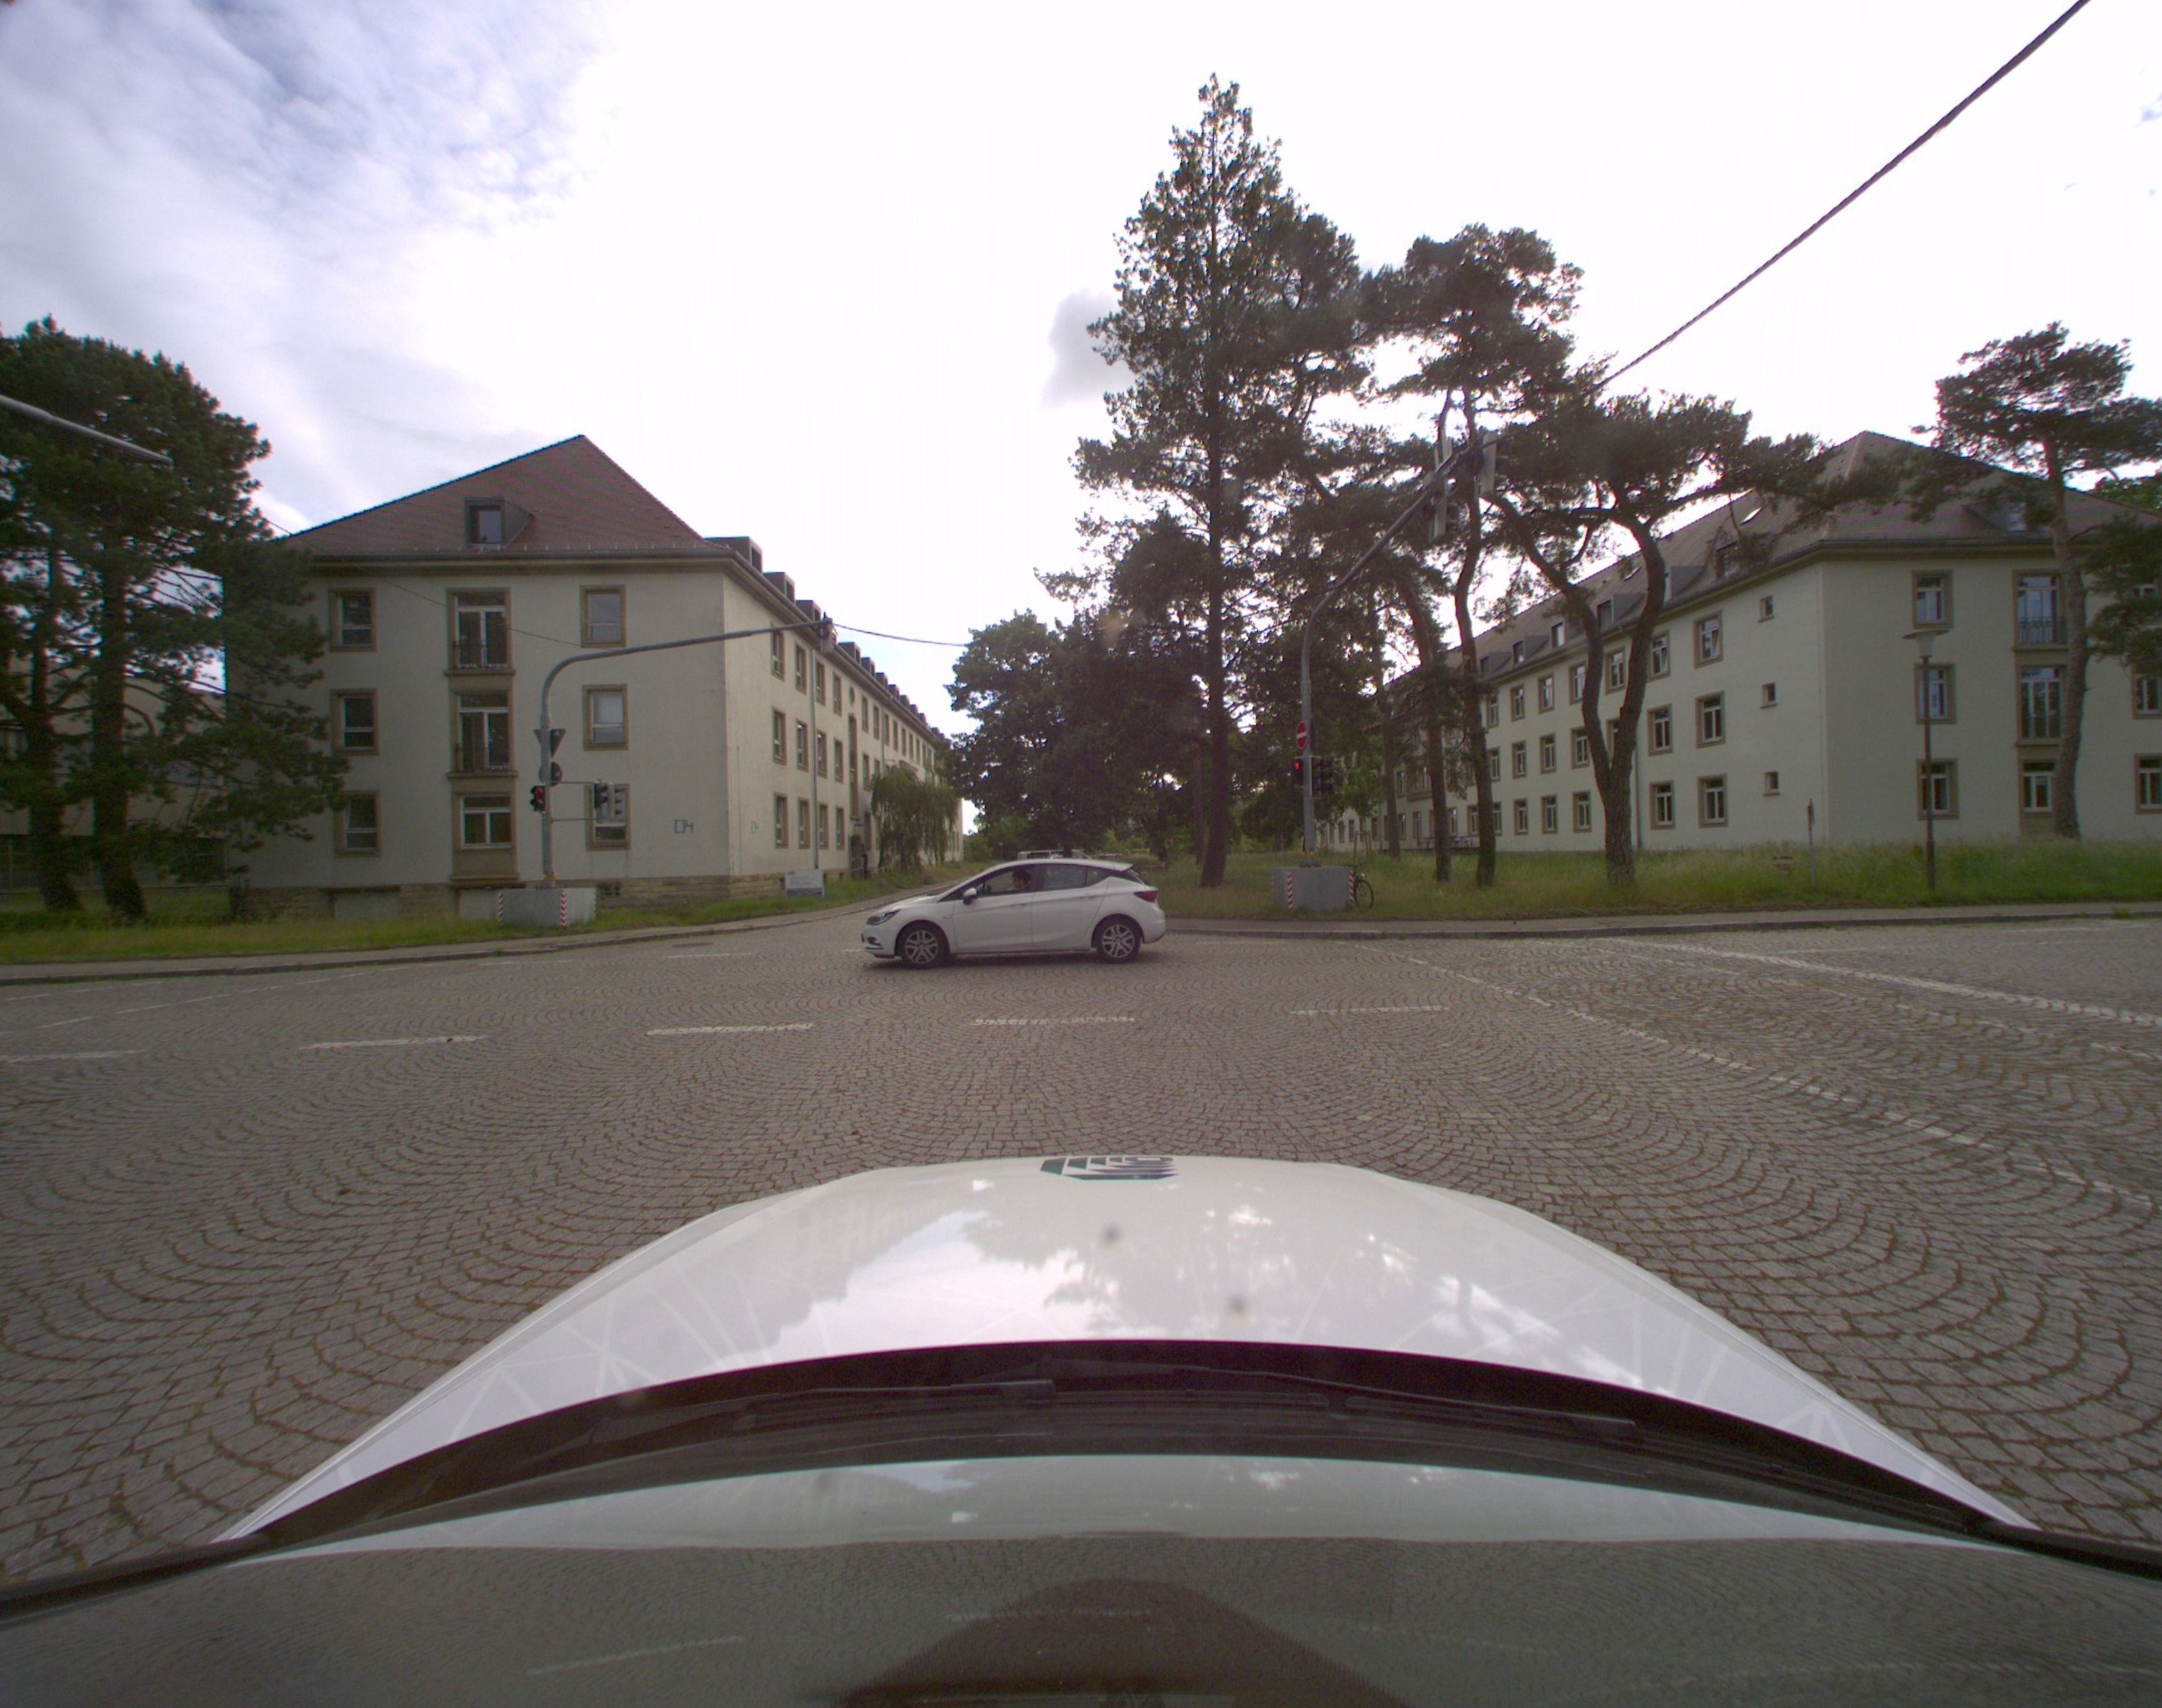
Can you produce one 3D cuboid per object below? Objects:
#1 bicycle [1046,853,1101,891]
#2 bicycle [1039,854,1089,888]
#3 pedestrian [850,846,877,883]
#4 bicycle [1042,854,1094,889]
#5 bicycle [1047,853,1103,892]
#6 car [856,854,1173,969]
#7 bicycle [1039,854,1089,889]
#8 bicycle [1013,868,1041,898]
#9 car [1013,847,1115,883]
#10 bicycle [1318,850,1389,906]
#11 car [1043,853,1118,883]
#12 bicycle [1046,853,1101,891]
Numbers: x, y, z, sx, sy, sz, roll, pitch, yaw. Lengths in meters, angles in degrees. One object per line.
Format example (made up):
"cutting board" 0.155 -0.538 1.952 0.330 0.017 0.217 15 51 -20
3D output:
"bicycle" -0.279 0.690 31.020 2.063 1.378 0.620 -2 0 -1
"bicycle" -0.706 0.716 34.713 2.063 1.378 0.620 -2 0 -1
"pedestrian" -12.116 0.592 45.406 1.082 2.013 1.023 -2 0 4
"bicycle" -0.542 0.704 33.233 2.063 1.378 0.620 -2 0 -1
"bicycle" -0.223 0.685 30.351 2.063 1.378 0.620 -2 0 -1
"car" -0.897 0.769 11.905 4.232 1.416 1.887 -2 0 -2
"bicycle" -0.706 0.710 33.966 2.063 1.378 0.620 -2 0 -1
"bicycle" -1.874 1.002 28.508 0.615 0.963 2.080 -2 0 6
"car" -1.018 0.639 48.218 5.699 1.910 2.220 -2 0 -14
"bicycle" 6.068 0.514 18.254 0.906 1.177 1.873 -2 0 -2
"car" -0.061 0.759 44.874 3.927 1.544 1.996 -2 0 -6
"bicycle" -0.294 0.694 31.644 2.063 1.378 0.620 -2 0 -1
